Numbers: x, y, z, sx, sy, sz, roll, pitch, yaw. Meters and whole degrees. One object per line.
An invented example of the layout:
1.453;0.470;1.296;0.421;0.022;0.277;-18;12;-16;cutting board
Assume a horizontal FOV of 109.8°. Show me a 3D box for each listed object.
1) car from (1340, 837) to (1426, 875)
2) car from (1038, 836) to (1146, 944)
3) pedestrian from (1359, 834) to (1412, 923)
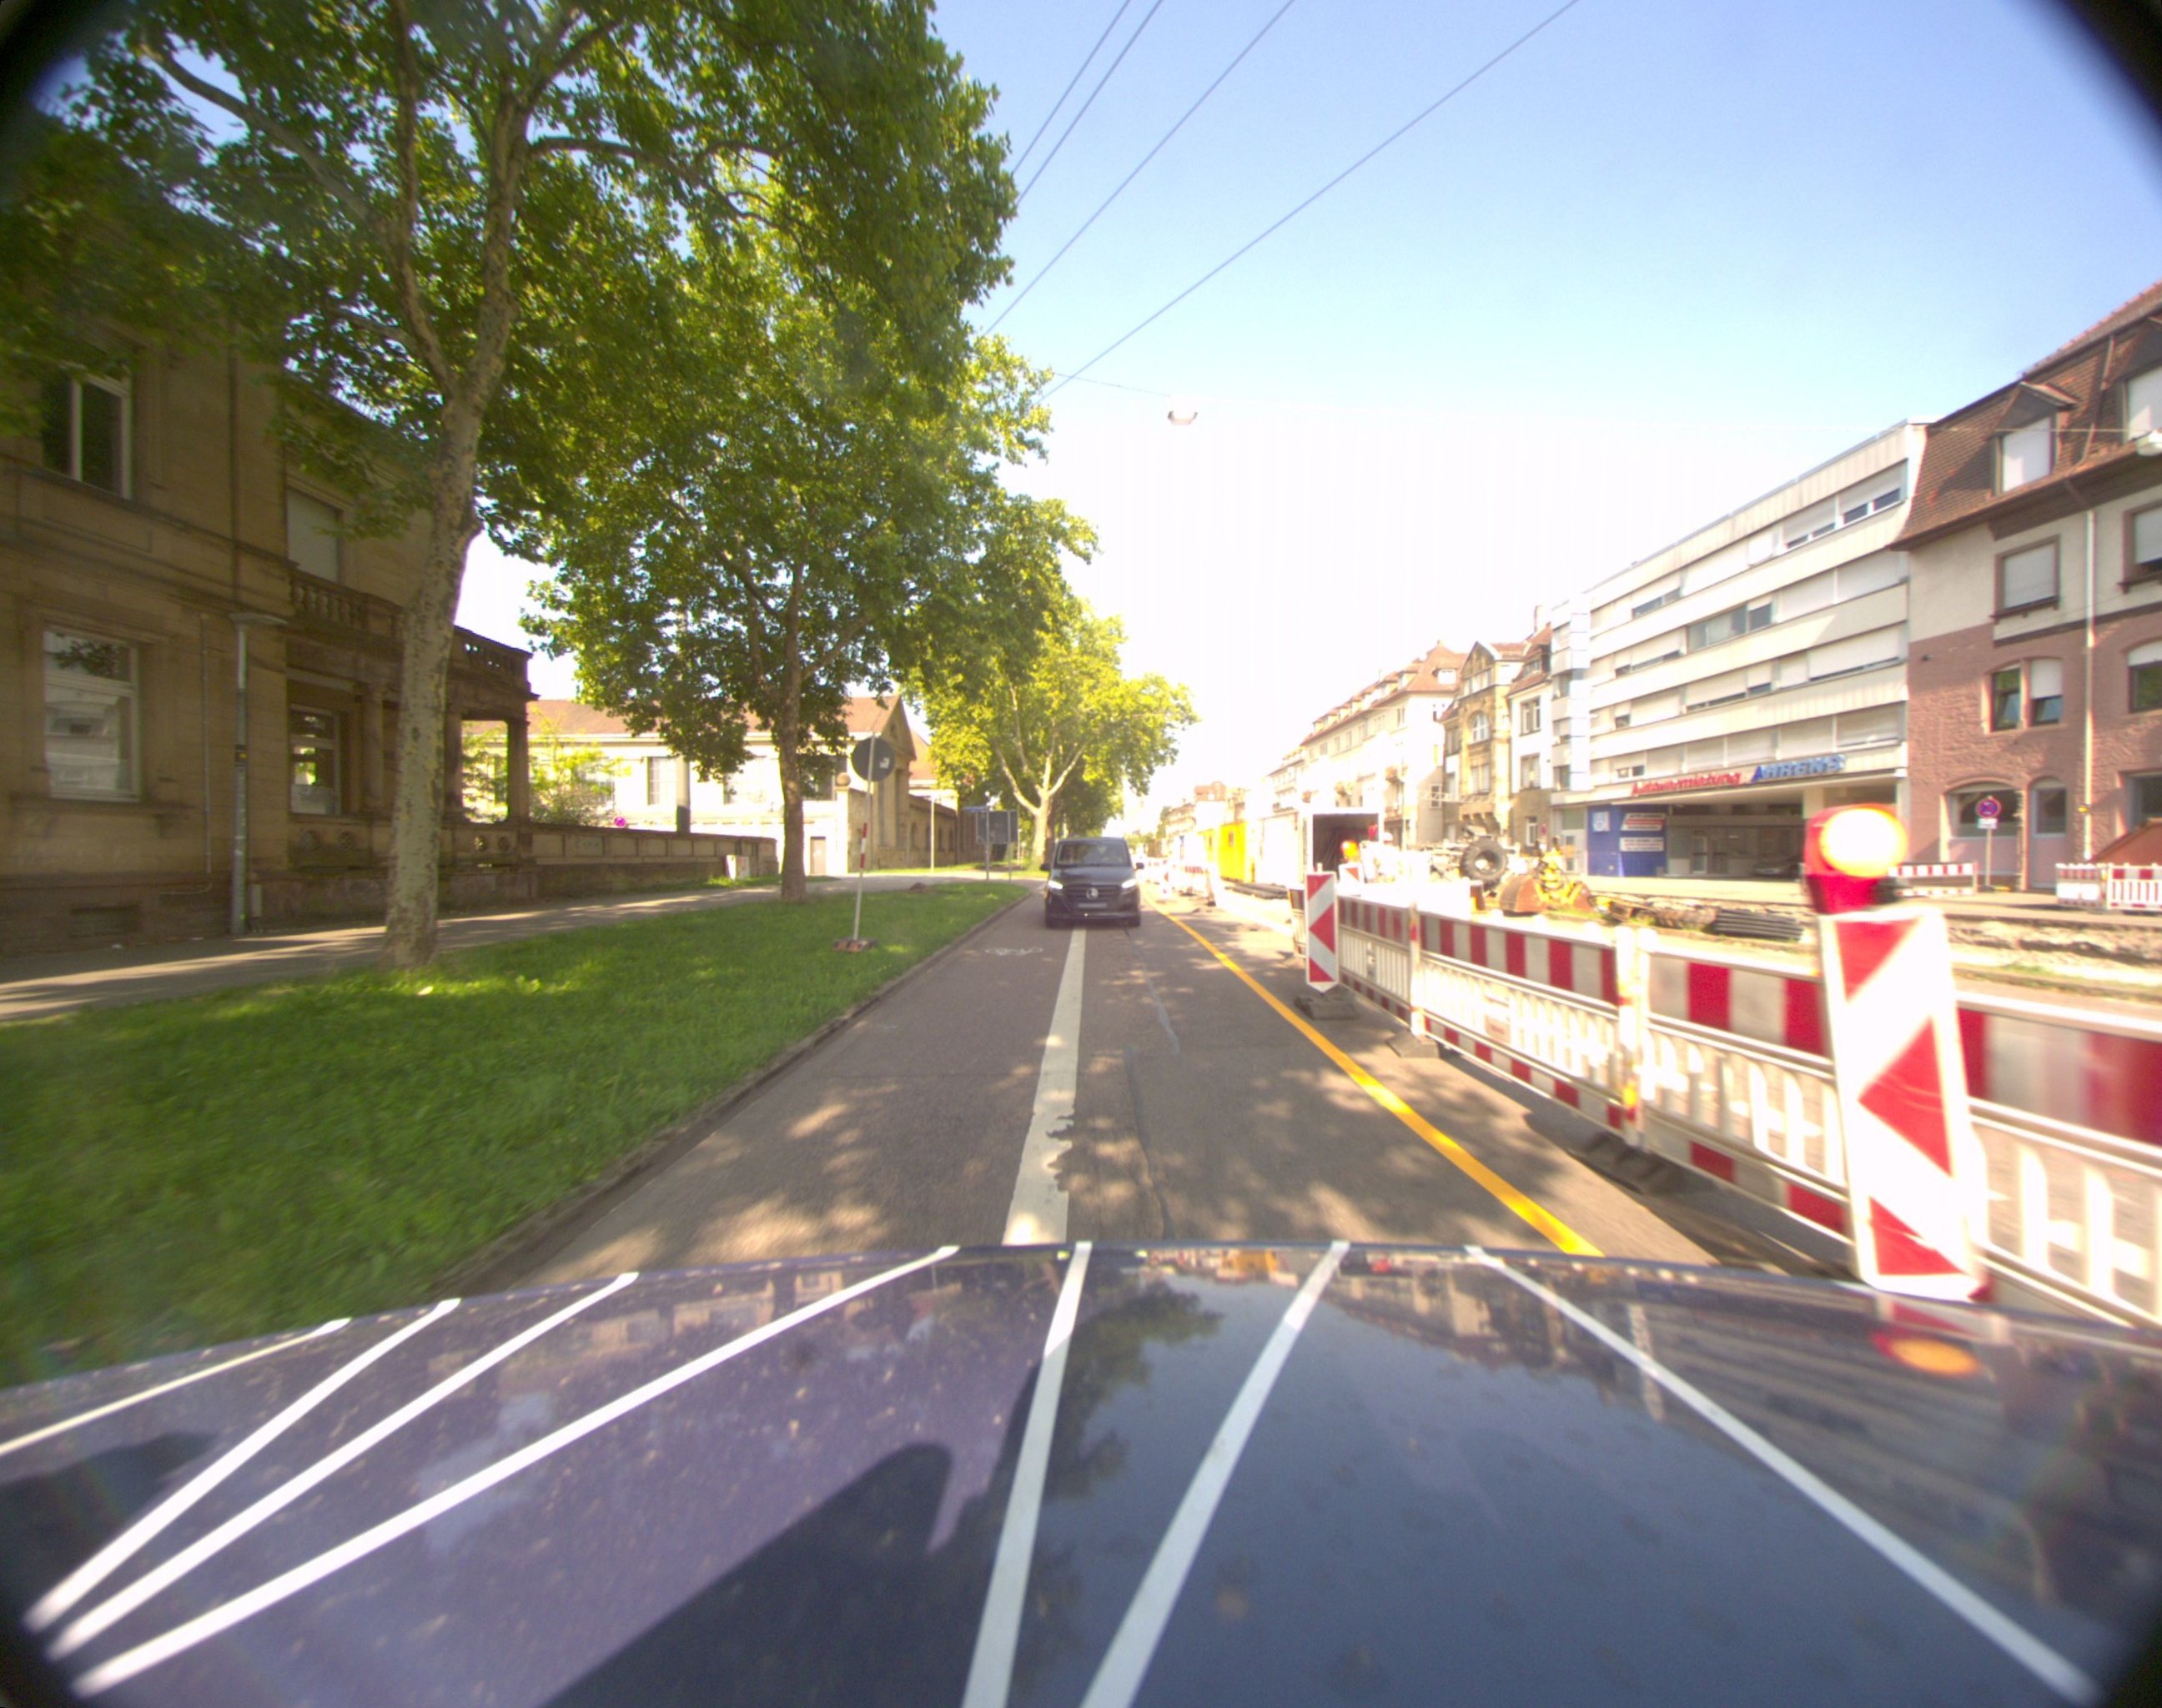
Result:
18.103;0.086;46.054;2.366;2.122;7.121;0;1;0;car
0.228;0.614;15.474;1.853;1.875;4.178;-1;1;1;car
6.278;0.492;15.690;0.804;1.787;0.595;1;1;-5;pedestrian
